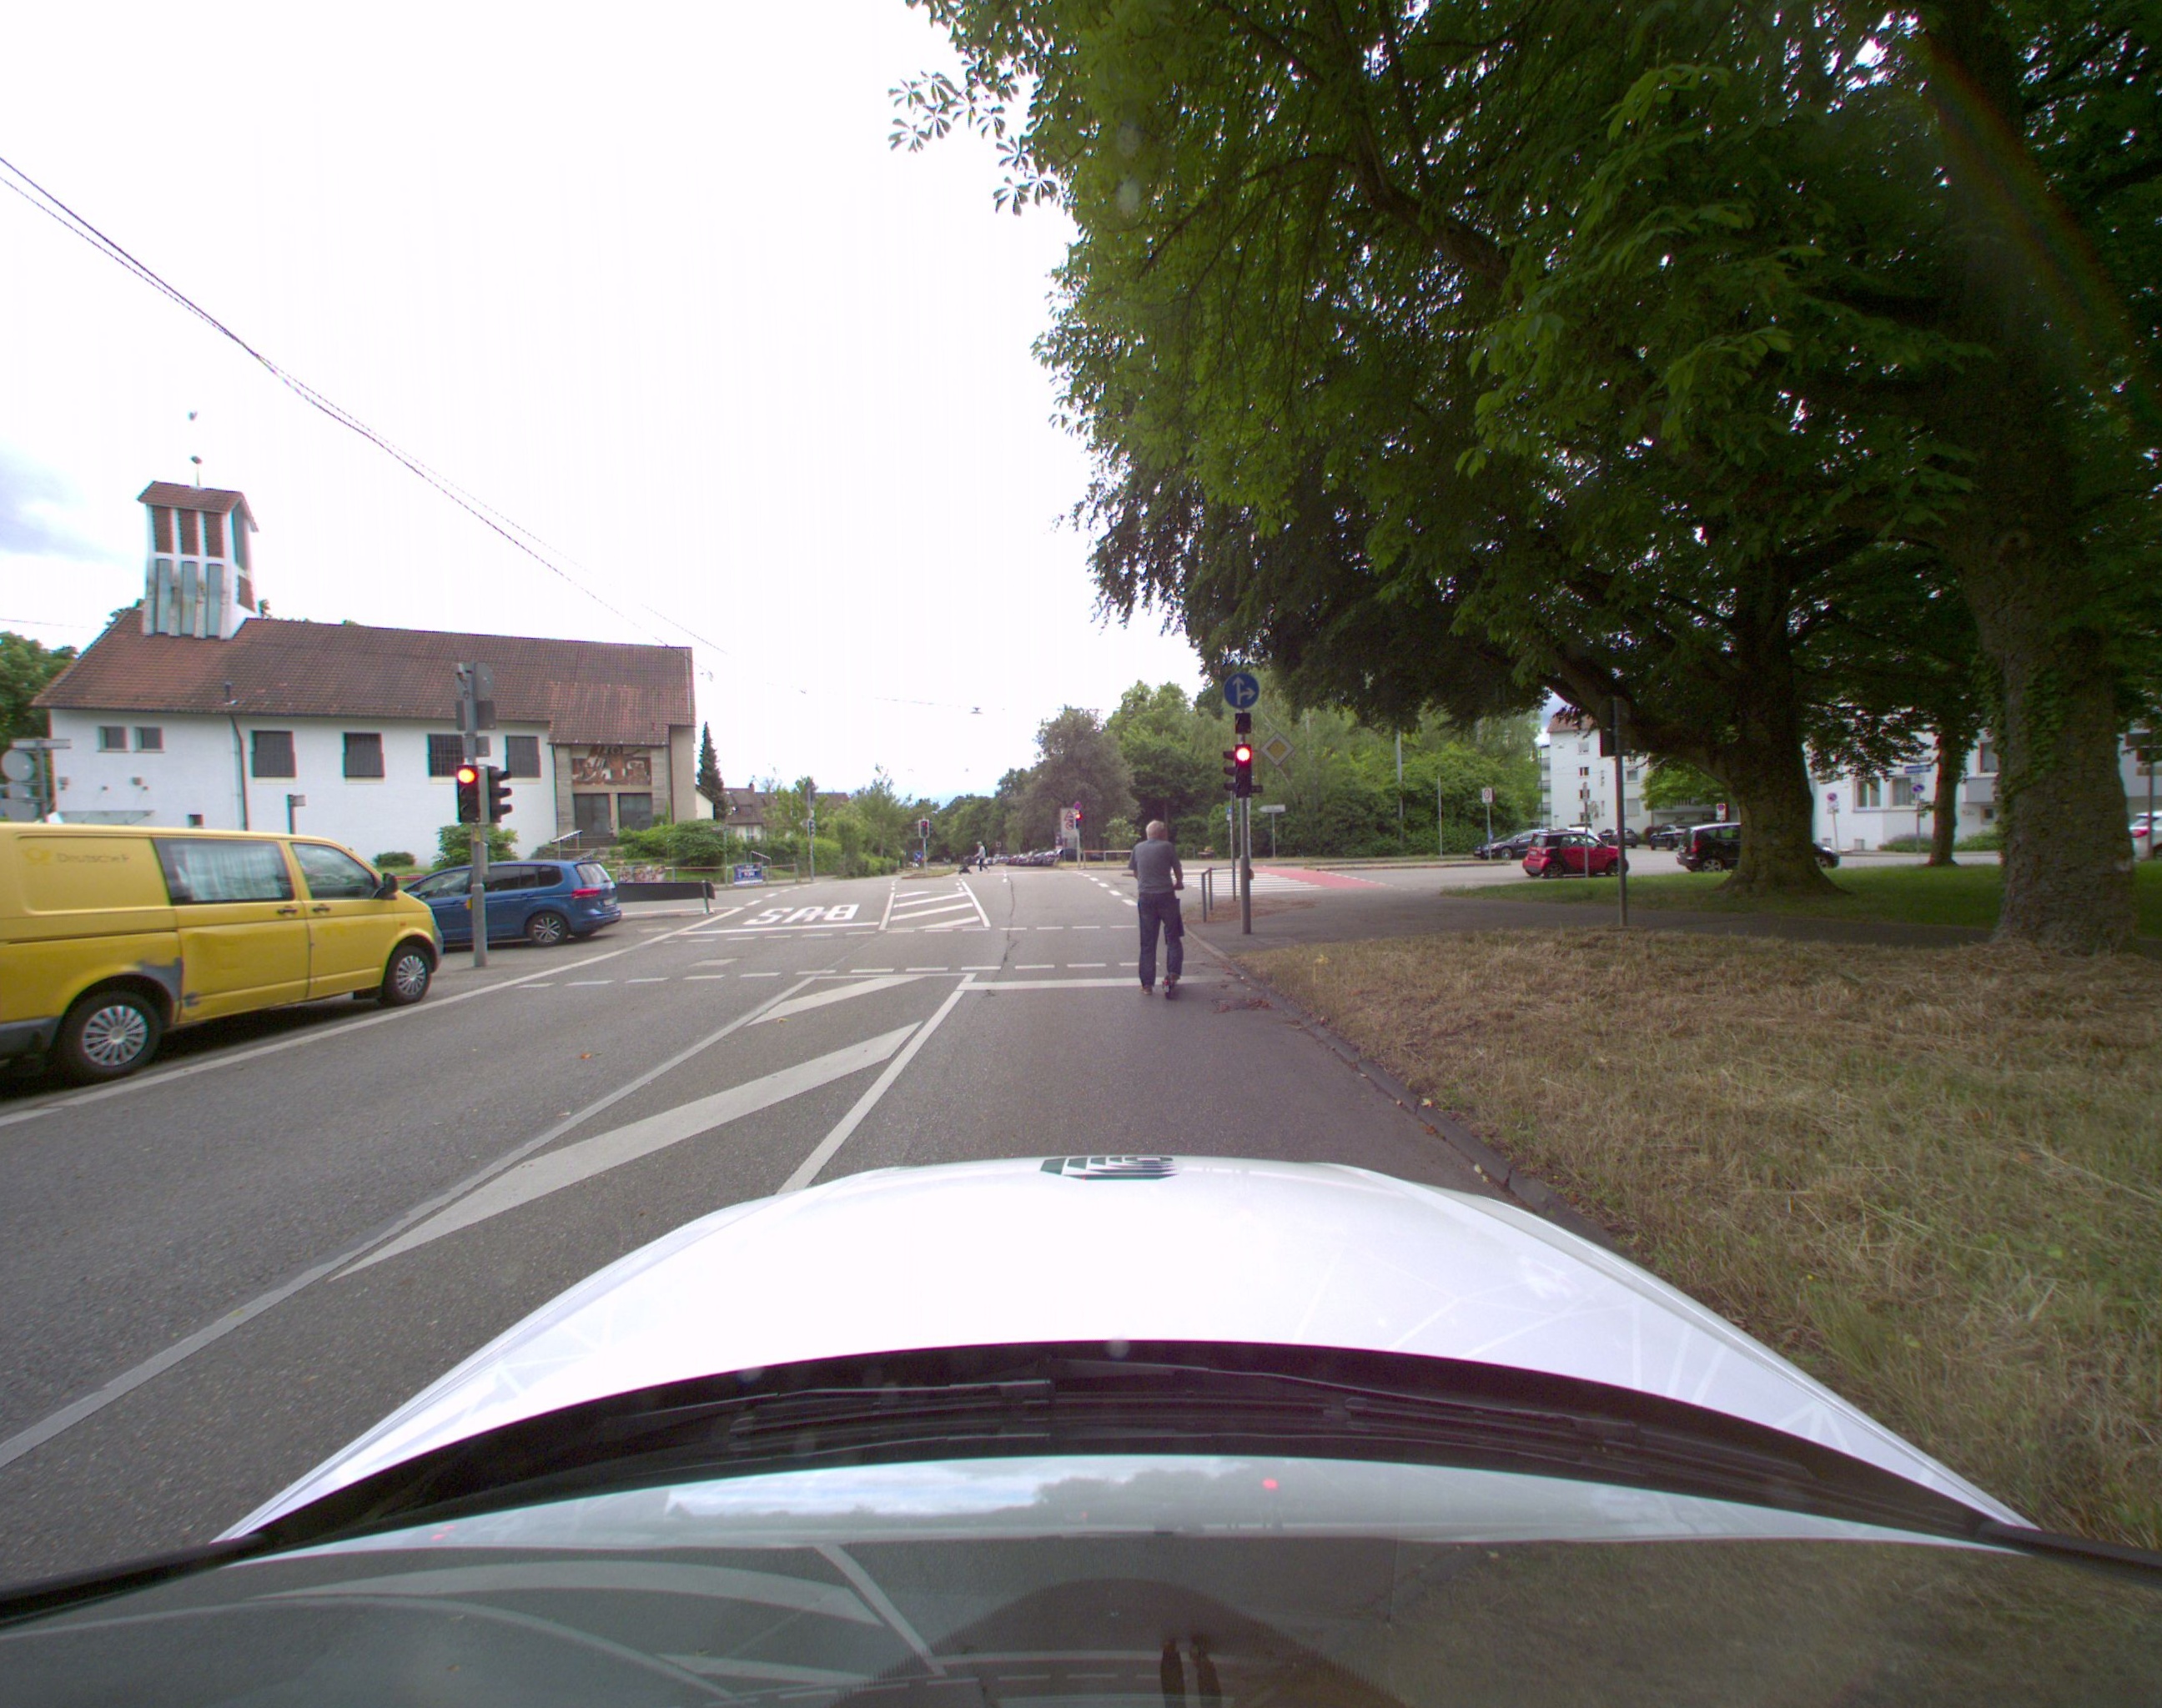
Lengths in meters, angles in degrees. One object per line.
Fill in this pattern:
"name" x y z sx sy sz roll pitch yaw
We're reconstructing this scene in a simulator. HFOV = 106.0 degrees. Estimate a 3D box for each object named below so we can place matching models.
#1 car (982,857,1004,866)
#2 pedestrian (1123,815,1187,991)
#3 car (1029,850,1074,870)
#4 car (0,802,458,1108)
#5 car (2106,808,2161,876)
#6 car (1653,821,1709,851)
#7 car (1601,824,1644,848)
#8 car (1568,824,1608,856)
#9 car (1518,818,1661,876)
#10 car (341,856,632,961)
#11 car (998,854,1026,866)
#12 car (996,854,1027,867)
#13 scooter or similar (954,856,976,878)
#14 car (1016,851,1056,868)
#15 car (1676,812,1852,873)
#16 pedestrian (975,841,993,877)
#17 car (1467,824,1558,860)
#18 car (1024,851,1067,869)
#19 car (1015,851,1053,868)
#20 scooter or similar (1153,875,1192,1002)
"car" -16.867 1.462 155.751 3.856 1.610 1.716 -3 0 -21
"pedestrian" 0.796 0.514 8.684 0.569 1.813 0.421 -2 0 10
"car" -2.829 0.584 78.115 3.857 1.610 1.715 -3 0 -22
"car" -8.280 0.699 7.433 1.880 2.013 4.558 -3 0 -5
"car" 27.838 -0.366 19.501 3.805 1.610 1.739 -3 1 42
"car" 35.438 -1.101 48.183 1.707 1.610 3.875 -3 0 22
"car" 38.787 -1.300 58.406 1.707 1.610 3.875 -3 0 22
"car" 28.663 -0.805 46.123 1.706 1.610 3.878 -3 1 30
"car" 16.474 -0.226 26.544 3.500 1.610 1.732 -3 0 6
"car" -11.074 0.953 15.507 3.993 1.610 1.810 -3 0 -14
"car" -10.528 0.853 123.431 3.856 1.610 1.716 -3 0 -21
"car" -9.407 0.875 110.432 3.856 1.610 1.716 -3 0 -21
"scooter or similar" -6.194 0.684 43.591 1.106 1.081 0.576 -2 0 -6
"car" -4.874 0.568 88.053 3.856 1.610 1.716 -3 0 -21
"car" 20.787 -0.328 25.003 3.805 1.610 1.739 -3 0 27
"pedestrian" -5.220 0.264 43.706 0.883 1.862 0.573 -2 0 -7
"car" 21.011 -0.568 39.804 3.499 1.530 1.732 -3 0 7
"car" -3.526 0.600 80.673 3.856 1.610 1.716 -3 0 -21
"car" -5.216 0.580 90.474 3.856 1.610 1.716 -3 0 -21
"scooter or similar" 0.963 0.834 8.449 0.280 1.178 1.180 -2 0 10
